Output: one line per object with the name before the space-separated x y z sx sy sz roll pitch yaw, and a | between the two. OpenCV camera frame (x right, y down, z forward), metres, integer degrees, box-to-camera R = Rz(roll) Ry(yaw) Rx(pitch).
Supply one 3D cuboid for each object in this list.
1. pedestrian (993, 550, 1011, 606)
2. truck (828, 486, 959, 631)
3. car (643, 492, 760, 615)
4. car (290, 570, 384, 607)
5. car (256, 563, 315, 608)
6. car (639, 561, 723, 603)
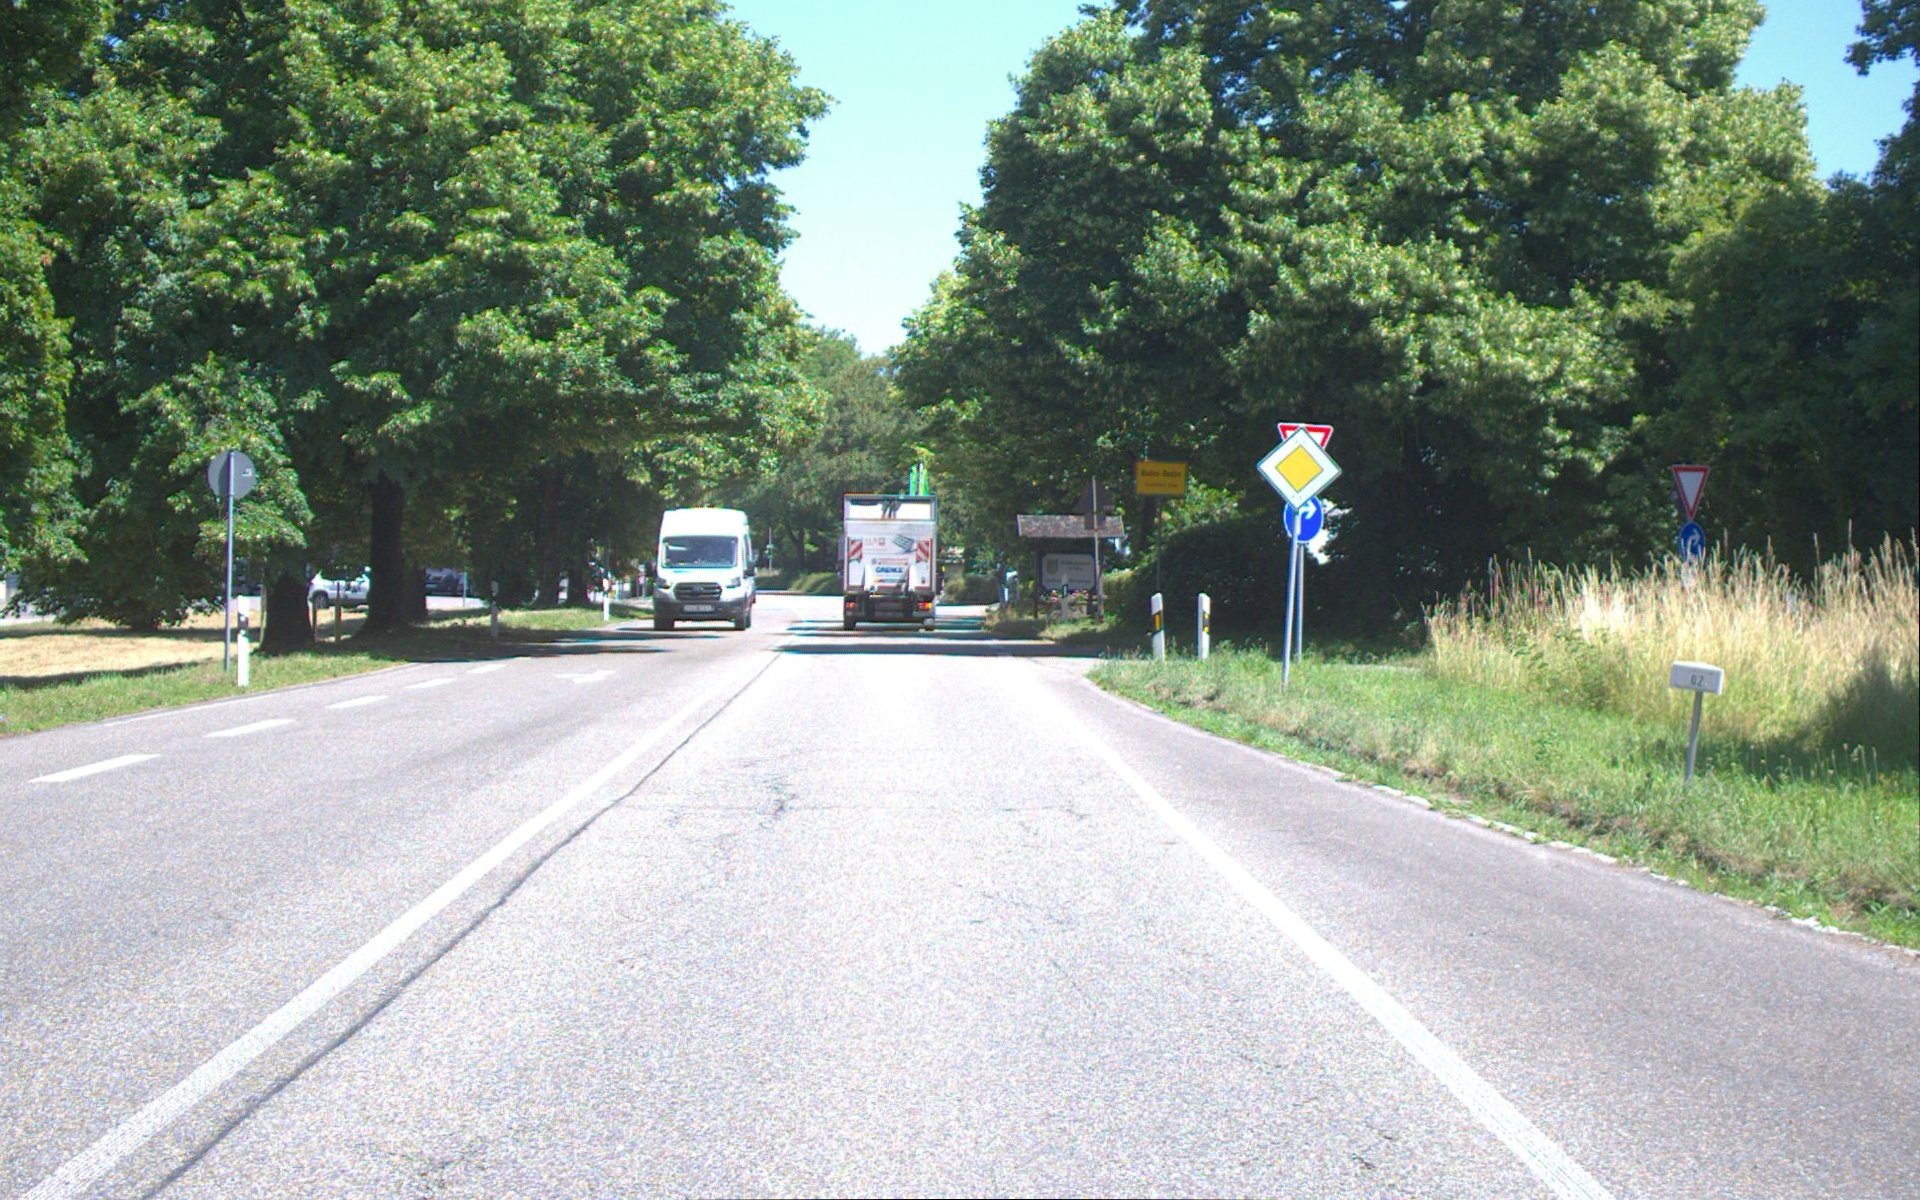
pedestrian | 1.340 -0.701 109.087 0.548 1.770 0.577 0 0 3
truck | -1.432 -0.956 76.798 2.534 3.124 5.361 0 1 3
car | -5.714 -1.011 76.704 2.073 2.618 6.784 0 0 0
car | -23.143 -0.422 127.777 3.429 1.357 1.332 0 0 32
car | -24.000 -0.516 122.255 1.735 1.579 4.001 0 0 -16
car | -12.616 -0.808 155.211 1.993 1.851 5.317 0 0 -26
